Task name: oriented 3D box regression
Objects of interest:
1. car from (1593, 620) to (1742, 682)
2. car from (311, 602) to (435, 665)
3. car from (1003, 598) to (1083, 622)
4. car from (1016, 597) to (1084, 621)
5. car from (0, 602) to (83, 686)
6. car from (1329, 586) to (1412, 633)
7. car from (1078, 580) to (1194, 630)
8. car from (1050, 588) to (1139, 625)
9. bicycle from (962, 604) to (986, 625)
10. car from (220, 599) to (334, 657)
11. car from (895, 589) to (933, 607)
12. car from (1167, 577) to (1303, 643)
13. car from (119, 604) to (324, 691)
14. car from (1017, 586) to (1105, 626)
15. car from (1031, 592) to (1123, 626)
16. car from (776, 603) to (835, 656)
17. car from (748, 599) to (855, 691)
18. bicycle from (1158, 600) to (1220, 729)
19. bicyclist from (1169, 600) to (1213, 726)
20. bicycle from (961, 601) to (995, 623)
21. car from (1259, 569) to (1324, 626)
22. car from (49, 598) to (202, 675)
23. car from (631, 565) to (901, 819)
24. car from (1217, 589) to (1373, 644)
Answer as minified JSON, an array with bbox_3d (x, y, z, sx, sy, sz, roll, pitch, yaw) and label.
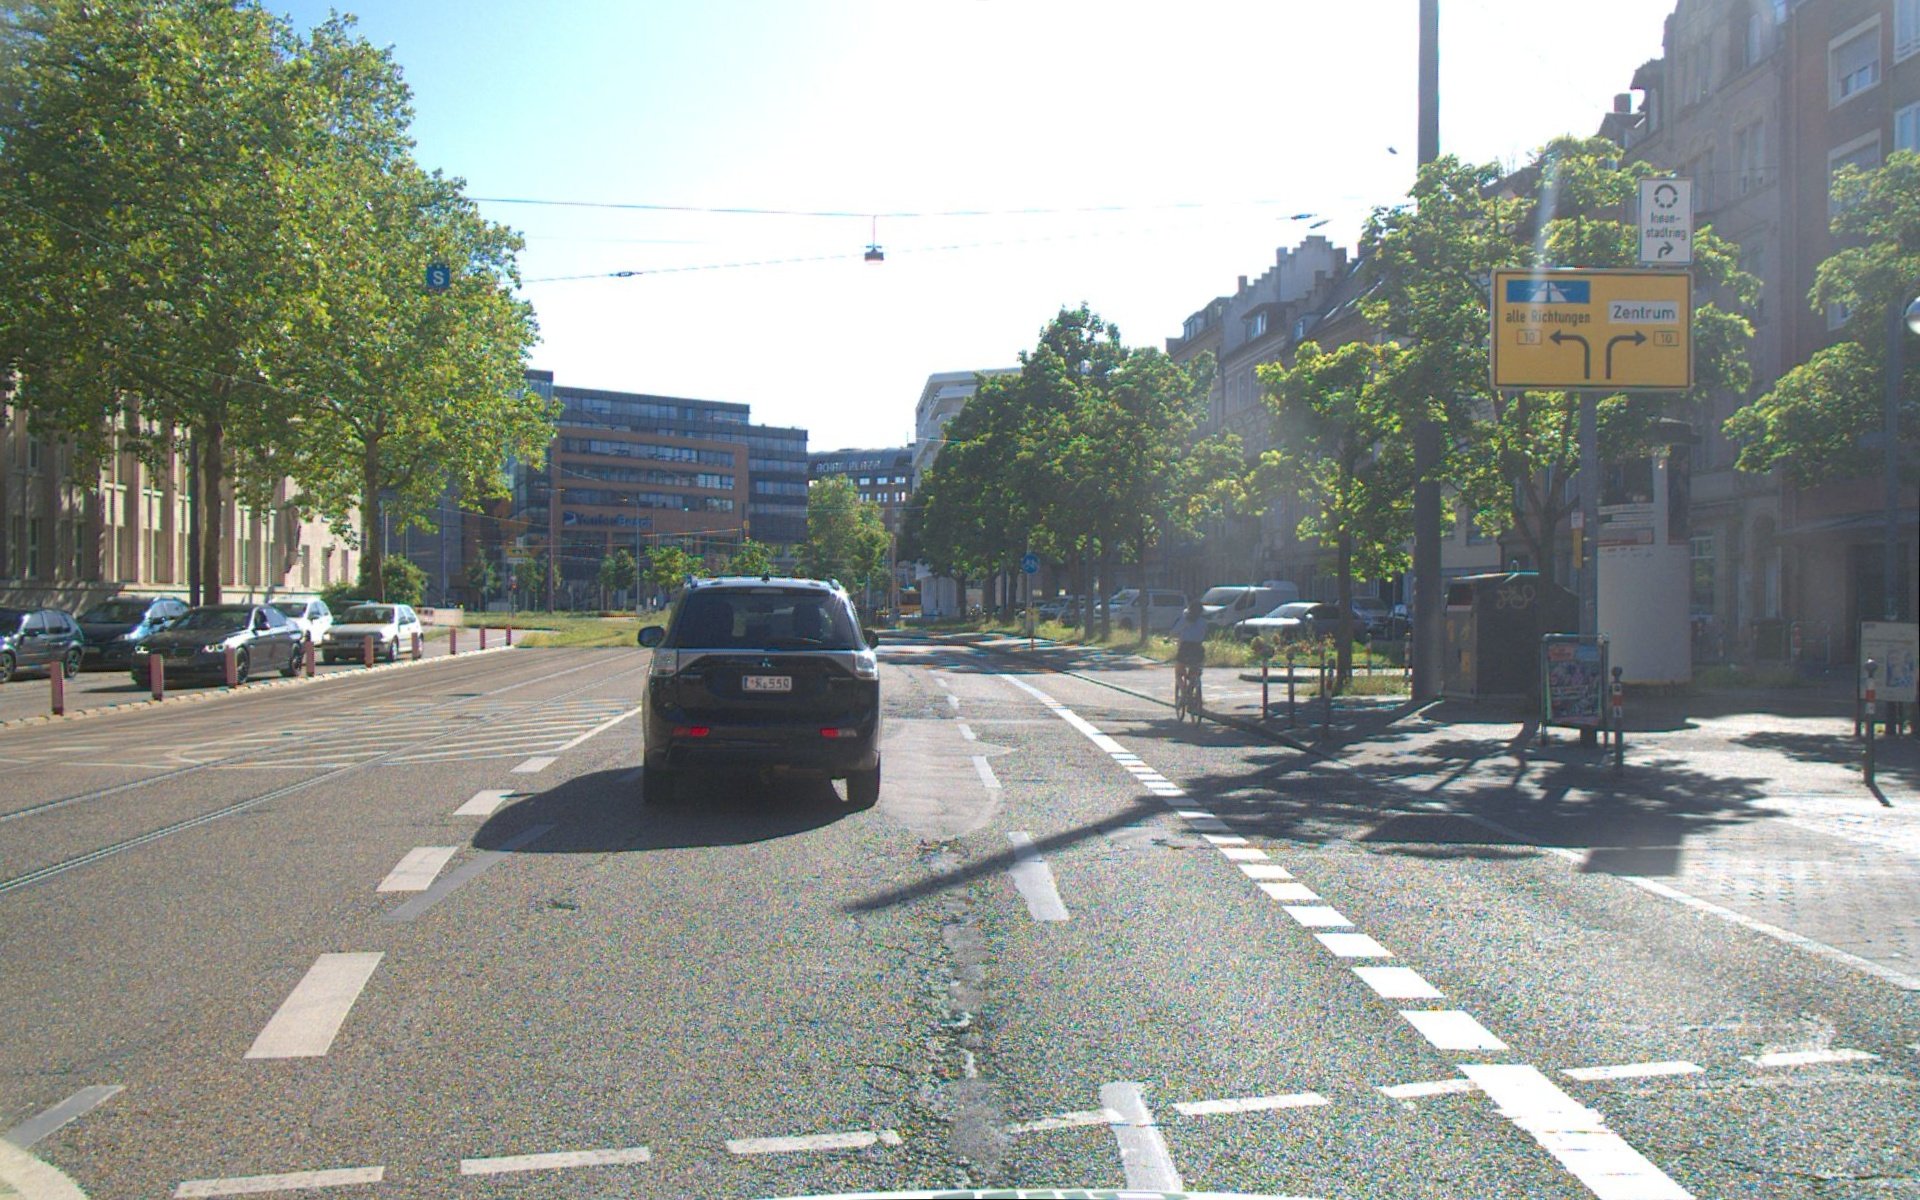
[{"bbox_3d":[18.846,1.317,44.289,1.953,1.500,4.488,-1,0,-2],"label":"car"},{"bbox_3d":[-14.811,0.813,41.949,1.793,1.478,4.168,-1,0,-3],"label":"car"},{"bbox_3d":[5.030,0.610,99.995,4.705,1.404,2.017,0,0,-39],"label":"car"},{"bbox_3d":[6.137,0.600,112.643,4.422,1.593,1.913,0,0,-37],"label":"car"},{"bbox_3d":[-19.164,0.837,32.890,1.640,1.575,4.182,0,0,-7],"label":"car"},{"bbox_3d":[17.138,0.379,69.278,1.955,1.831,4.621,-2,1,-5],"label":"car"},{"bbox_3d":[8.067,0.215,75.544,5.127,2.048,2.075,-2,0,-35],"label":"car"},{"bbox_3d":[7.135,0.323,87.645,4.461,1.757,1.976,-2,0,-35],"label":"car"},{"bbox_3d":[0.870,0.904,103.101,0.754,1.312,1.592,-1,0,34],"label":"bicycle"},{"bbox_3d":[-20.246,0.789,49.223,1.793,1.615,4.392,-1,0,-4],"label":"car"},{"bbox_3d":[-5.123,-0.195,184.812,3.901,2.049,2.002,0,-1,10],"label":"car"},{"bbox_3d":[9.621,0.317,57.691,4.835,2.111,1.992,-2,1,-40],"label":"car"},{"bbox_3d":[-13.978,0.840,31.659,1.793,1.478,4.959,-1,0,-2],"label":"car"},{"bbox_3d":[5.716,0.343,93.513,4.833,2.048,2.071,-2,0,-39],"label":"car"},{"bbox_3d":[6.472,0.481,91.147,4.824,1.676,2.075,-2,0,-35],"label":"car"},{"bbox_3d":[-4.520,0.889,48.374,1.600,1.448,3.777,2,-2,-5],"label":"car"},{"bbox_3d":[-2.834,0.814,29.498,1.700,1.448,4.461,2,-2,-6],"label":"car"},{"bbox_3d":[3.114,0.837,22.575,0.429,1.667,1.937,0,0,-4],"label":"bicycle"},{"bbox_3d":[3.125,0.840,22.409,0.429,1.667,0.778,0,0,-4],"label":"bicyclist"},{"bbox_3d":[1.152,0.783,105.039,2.055,1.389,0.785,0,-1,-11],"label":"bicycle"},{"bbox_3d":[16.169,-0.152,80.808,1.954,2.630,4.510,-2,1,-4],"label":"car"},{"bbox_3d":[-19.317,0.796,38.496,1.795,1.668,4.389,0,0,-7],"label":"car"},{"bbox_3d":[-1.559,0.653,13.534,1.801,1.712,4.636,1,-1,-6],"label":"car"},{"bbox_3d":[10.230,0.462,50.348,4.831,1.460,1.993,-2,1,-38],"label":"car"}]
